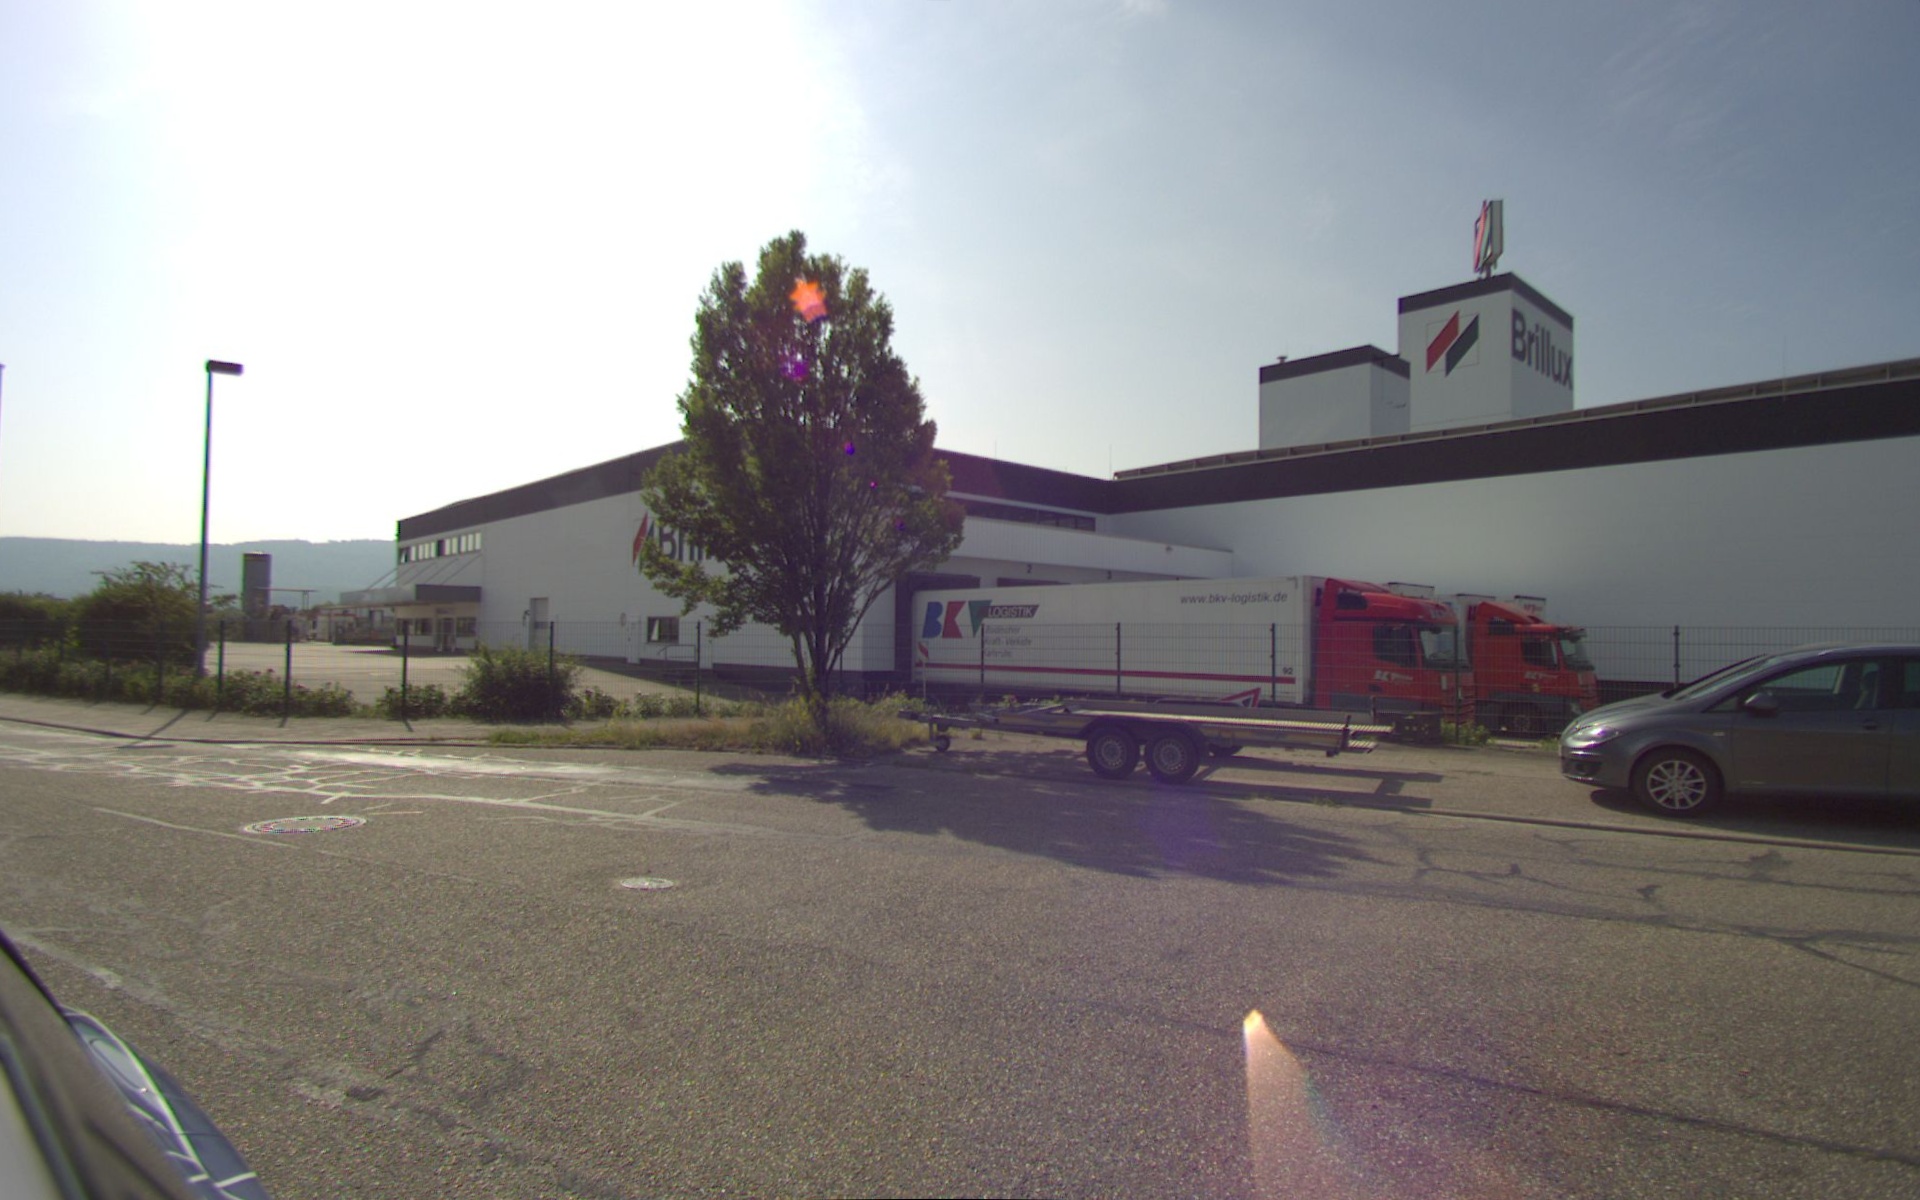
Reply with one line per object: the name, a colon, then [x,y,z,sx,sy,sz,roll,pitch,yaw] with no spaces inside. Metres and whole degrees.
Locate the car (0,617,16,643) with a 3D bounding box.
car: [-66.555,1.987,67.847,4.590,1.765,2.156,3,-3,-39]

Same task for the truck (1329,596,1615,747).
truck: [14.882,1.851,29.820,2.733,3.900,7.019,0,0,-44]

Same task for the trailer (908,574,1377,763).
trailer: [4.034,1.421,27.768,2.452,4.072,13.901,0,0,-44]

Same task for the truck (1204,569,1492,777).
truck: [8.600,1.414,22.859,2.484,4.102,5.548,0,0,-44]

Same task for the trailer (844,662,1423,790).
trailer: [2.011,1.393,12.616,6.681,0.932,2.530,-1,1,30]

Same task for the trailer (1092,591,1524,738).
trailer: [10.825,1.794,34.016,2.821,4.037,14.023,0,0,-44]

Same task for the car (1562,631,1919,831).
car: [7.996,1.102,9.176,4.319,1.573,1.684,-1,0,31]
